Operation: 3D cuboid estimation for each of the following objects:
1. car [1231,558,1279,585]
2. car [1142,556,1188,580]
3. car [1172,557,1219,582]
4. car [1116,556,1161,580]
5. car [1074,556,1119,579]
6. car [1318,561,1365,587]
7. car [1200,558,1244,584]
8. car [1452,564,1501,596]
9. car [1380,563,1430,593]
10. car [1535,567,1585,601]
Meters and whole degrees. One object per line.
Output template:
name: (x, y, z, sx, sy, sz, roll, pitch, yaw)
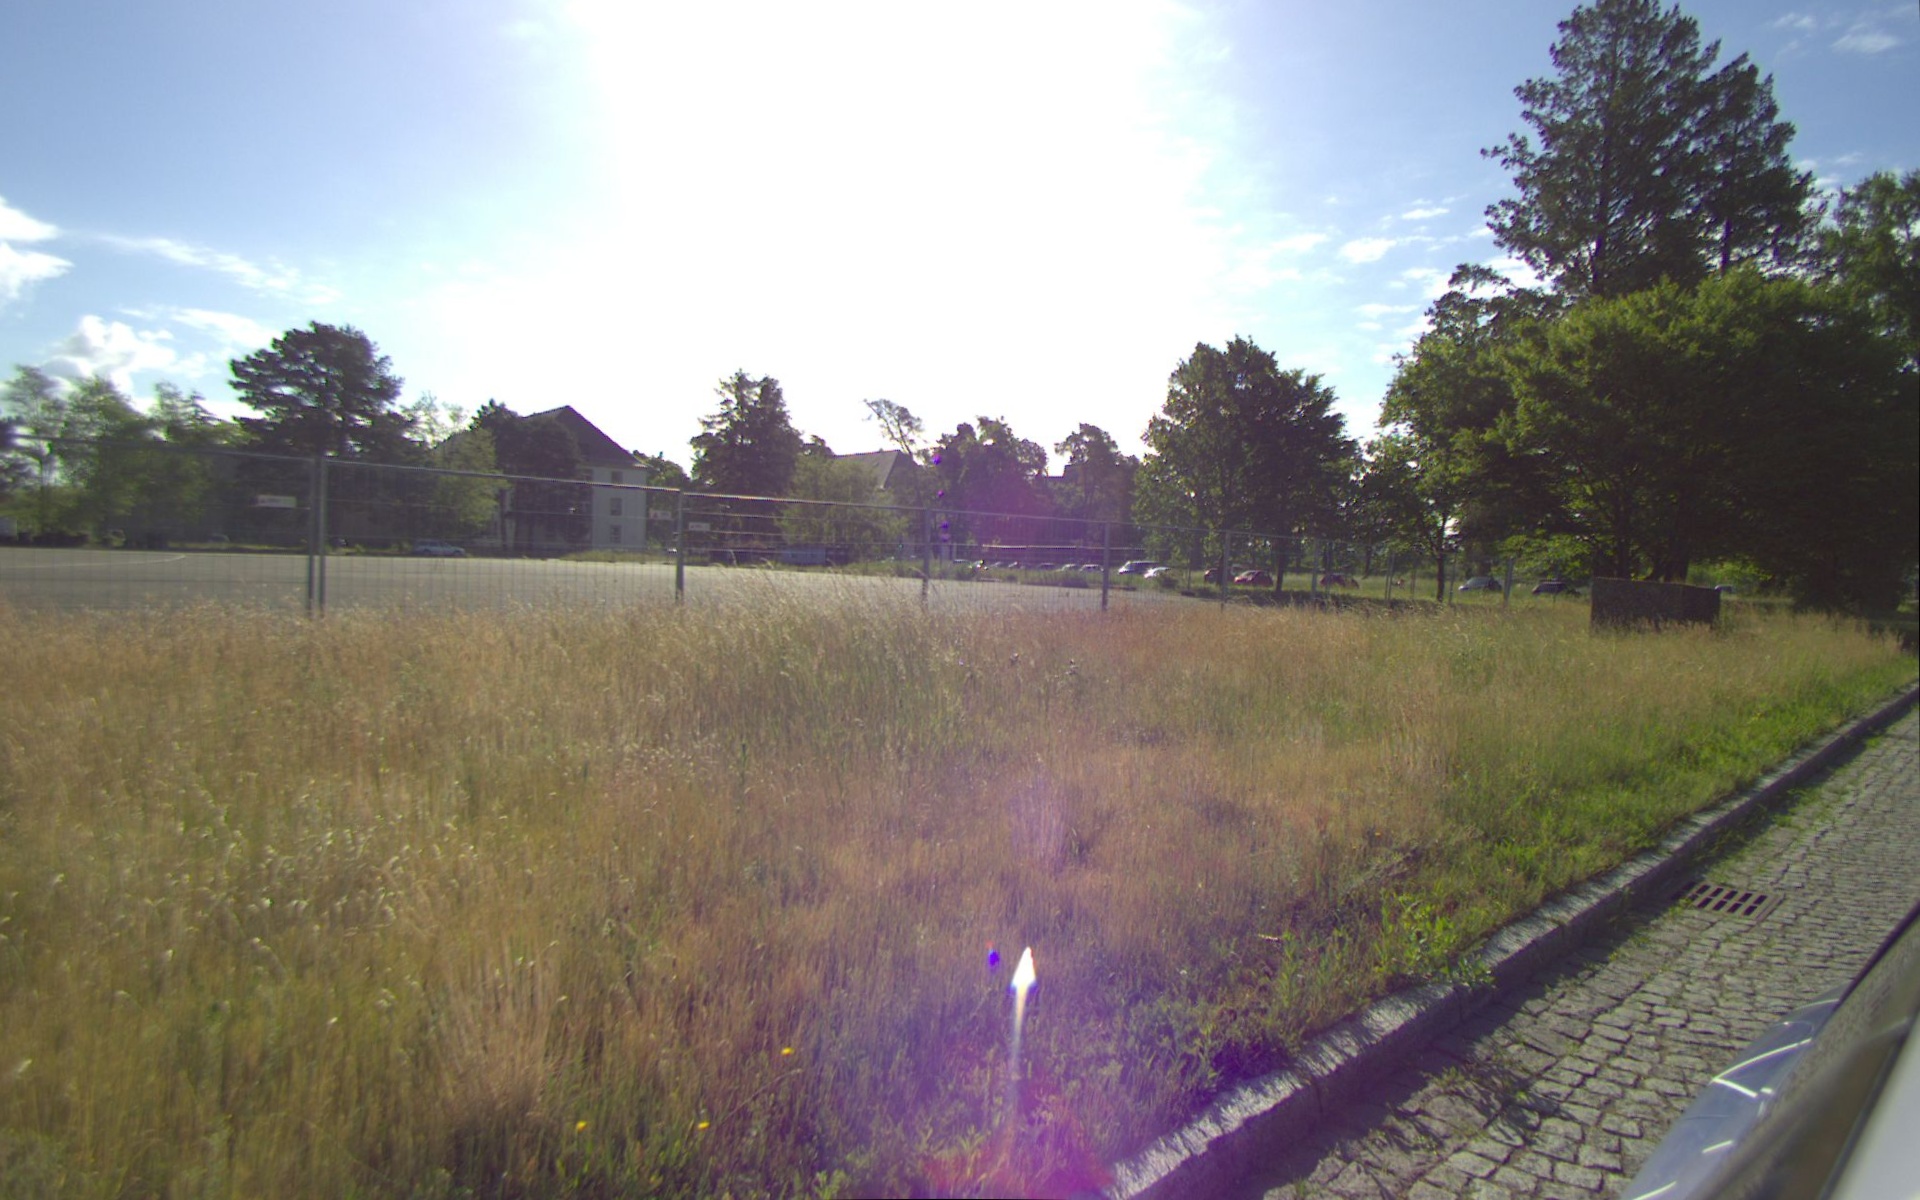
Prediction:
car: (23.863, -2.276, 81.769, 3.934, 2.038, 1.996, 0, 3, -44)
car: (17.968, -2.755, 88.673, 3.935, 1.971, 1.996, 0, 3, -45)
car: (20.383, -2.670, 87.630, 3.932, 2.038, 1.997, 0, 3, -42)
car: (15.956, -2.814, 90.161, 3.935, 2.038, 1.996, 0, 3, -45)
car: (12.758, -3.017, 94.455, 3.924, 2.039, 2.000, -1, 0, -35)
car: (28.733, -1.913, 76.121, 1.993, 1.838, 3.941, 4, 3, 41)
car: (21.683, -2.419, 83.770, 1.991, 2.038, 3.943, 4, 3, 39)
car: (35.050, -1.336, 68.581, 1.992, 2.038, 3.941, 4, 3, 41)
car: (32.071, -1.569, 72.903, 3.935, 2.038, 1.995, 0, 3, -45)
car: (38.297, -1.023, 64.548, 1.992, 2.038, 3.941, 4, 3, 41)
